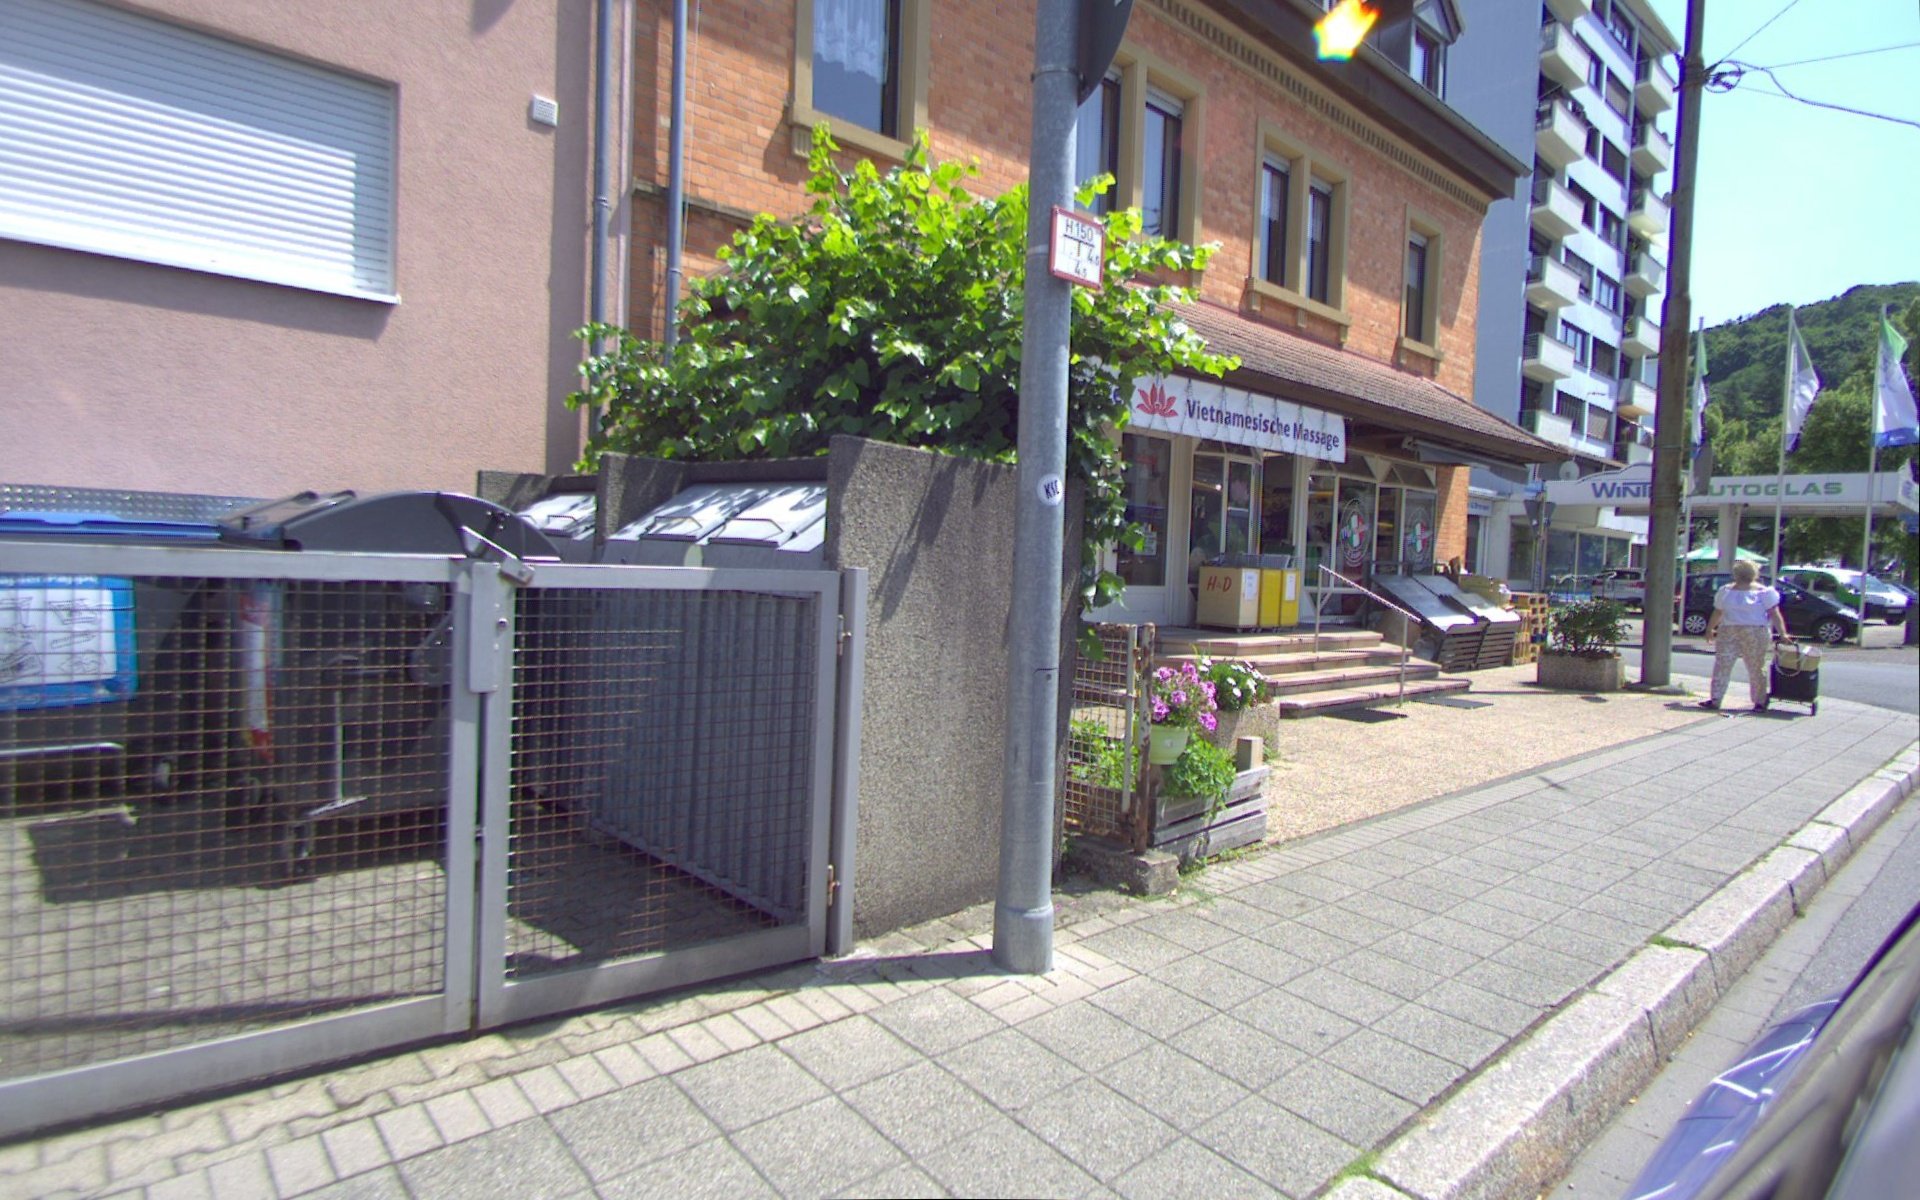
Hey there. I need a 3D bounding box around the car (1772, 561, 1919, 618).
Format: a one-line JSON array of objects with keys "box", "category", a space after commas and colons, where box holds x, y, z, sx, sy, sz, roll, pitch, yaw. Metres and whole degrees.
[{"box": [30.472, -0.419, 34.650, 1.788, 1.811, 4.293, 0, 2, -2], "category": "car"}]

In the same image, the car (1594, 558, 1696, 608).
[{"box": [24.340, -0.618, 35.919, 4.622, 1.646, 1.750, -1, 3, -40], "category": "car"}]

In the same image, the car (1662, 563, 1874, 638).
[{"box": [19.542, -0.066, 24.702, 3.868, 1.561, 1.818, 4, 4, 37], "category": "car"}]

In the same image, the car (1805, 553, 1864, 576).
[{"box": [79.852, -3.214, 92.406, 5.274, 2.038, 2.405, -2, 2, -30], "category": "car"}]

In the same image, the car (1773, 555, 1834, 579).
[{"box": [74.227, -2.956, 89.078, 5.274, 2.038, 2.405, -2, 2, -30], "category": "car"}]

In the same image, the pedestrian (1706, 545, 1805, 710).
[{"box": [8.503, 0.278, 10.826, 0.704, 1.661, 0.650, 5, 3, 40], "category": "pedestrian"}]
